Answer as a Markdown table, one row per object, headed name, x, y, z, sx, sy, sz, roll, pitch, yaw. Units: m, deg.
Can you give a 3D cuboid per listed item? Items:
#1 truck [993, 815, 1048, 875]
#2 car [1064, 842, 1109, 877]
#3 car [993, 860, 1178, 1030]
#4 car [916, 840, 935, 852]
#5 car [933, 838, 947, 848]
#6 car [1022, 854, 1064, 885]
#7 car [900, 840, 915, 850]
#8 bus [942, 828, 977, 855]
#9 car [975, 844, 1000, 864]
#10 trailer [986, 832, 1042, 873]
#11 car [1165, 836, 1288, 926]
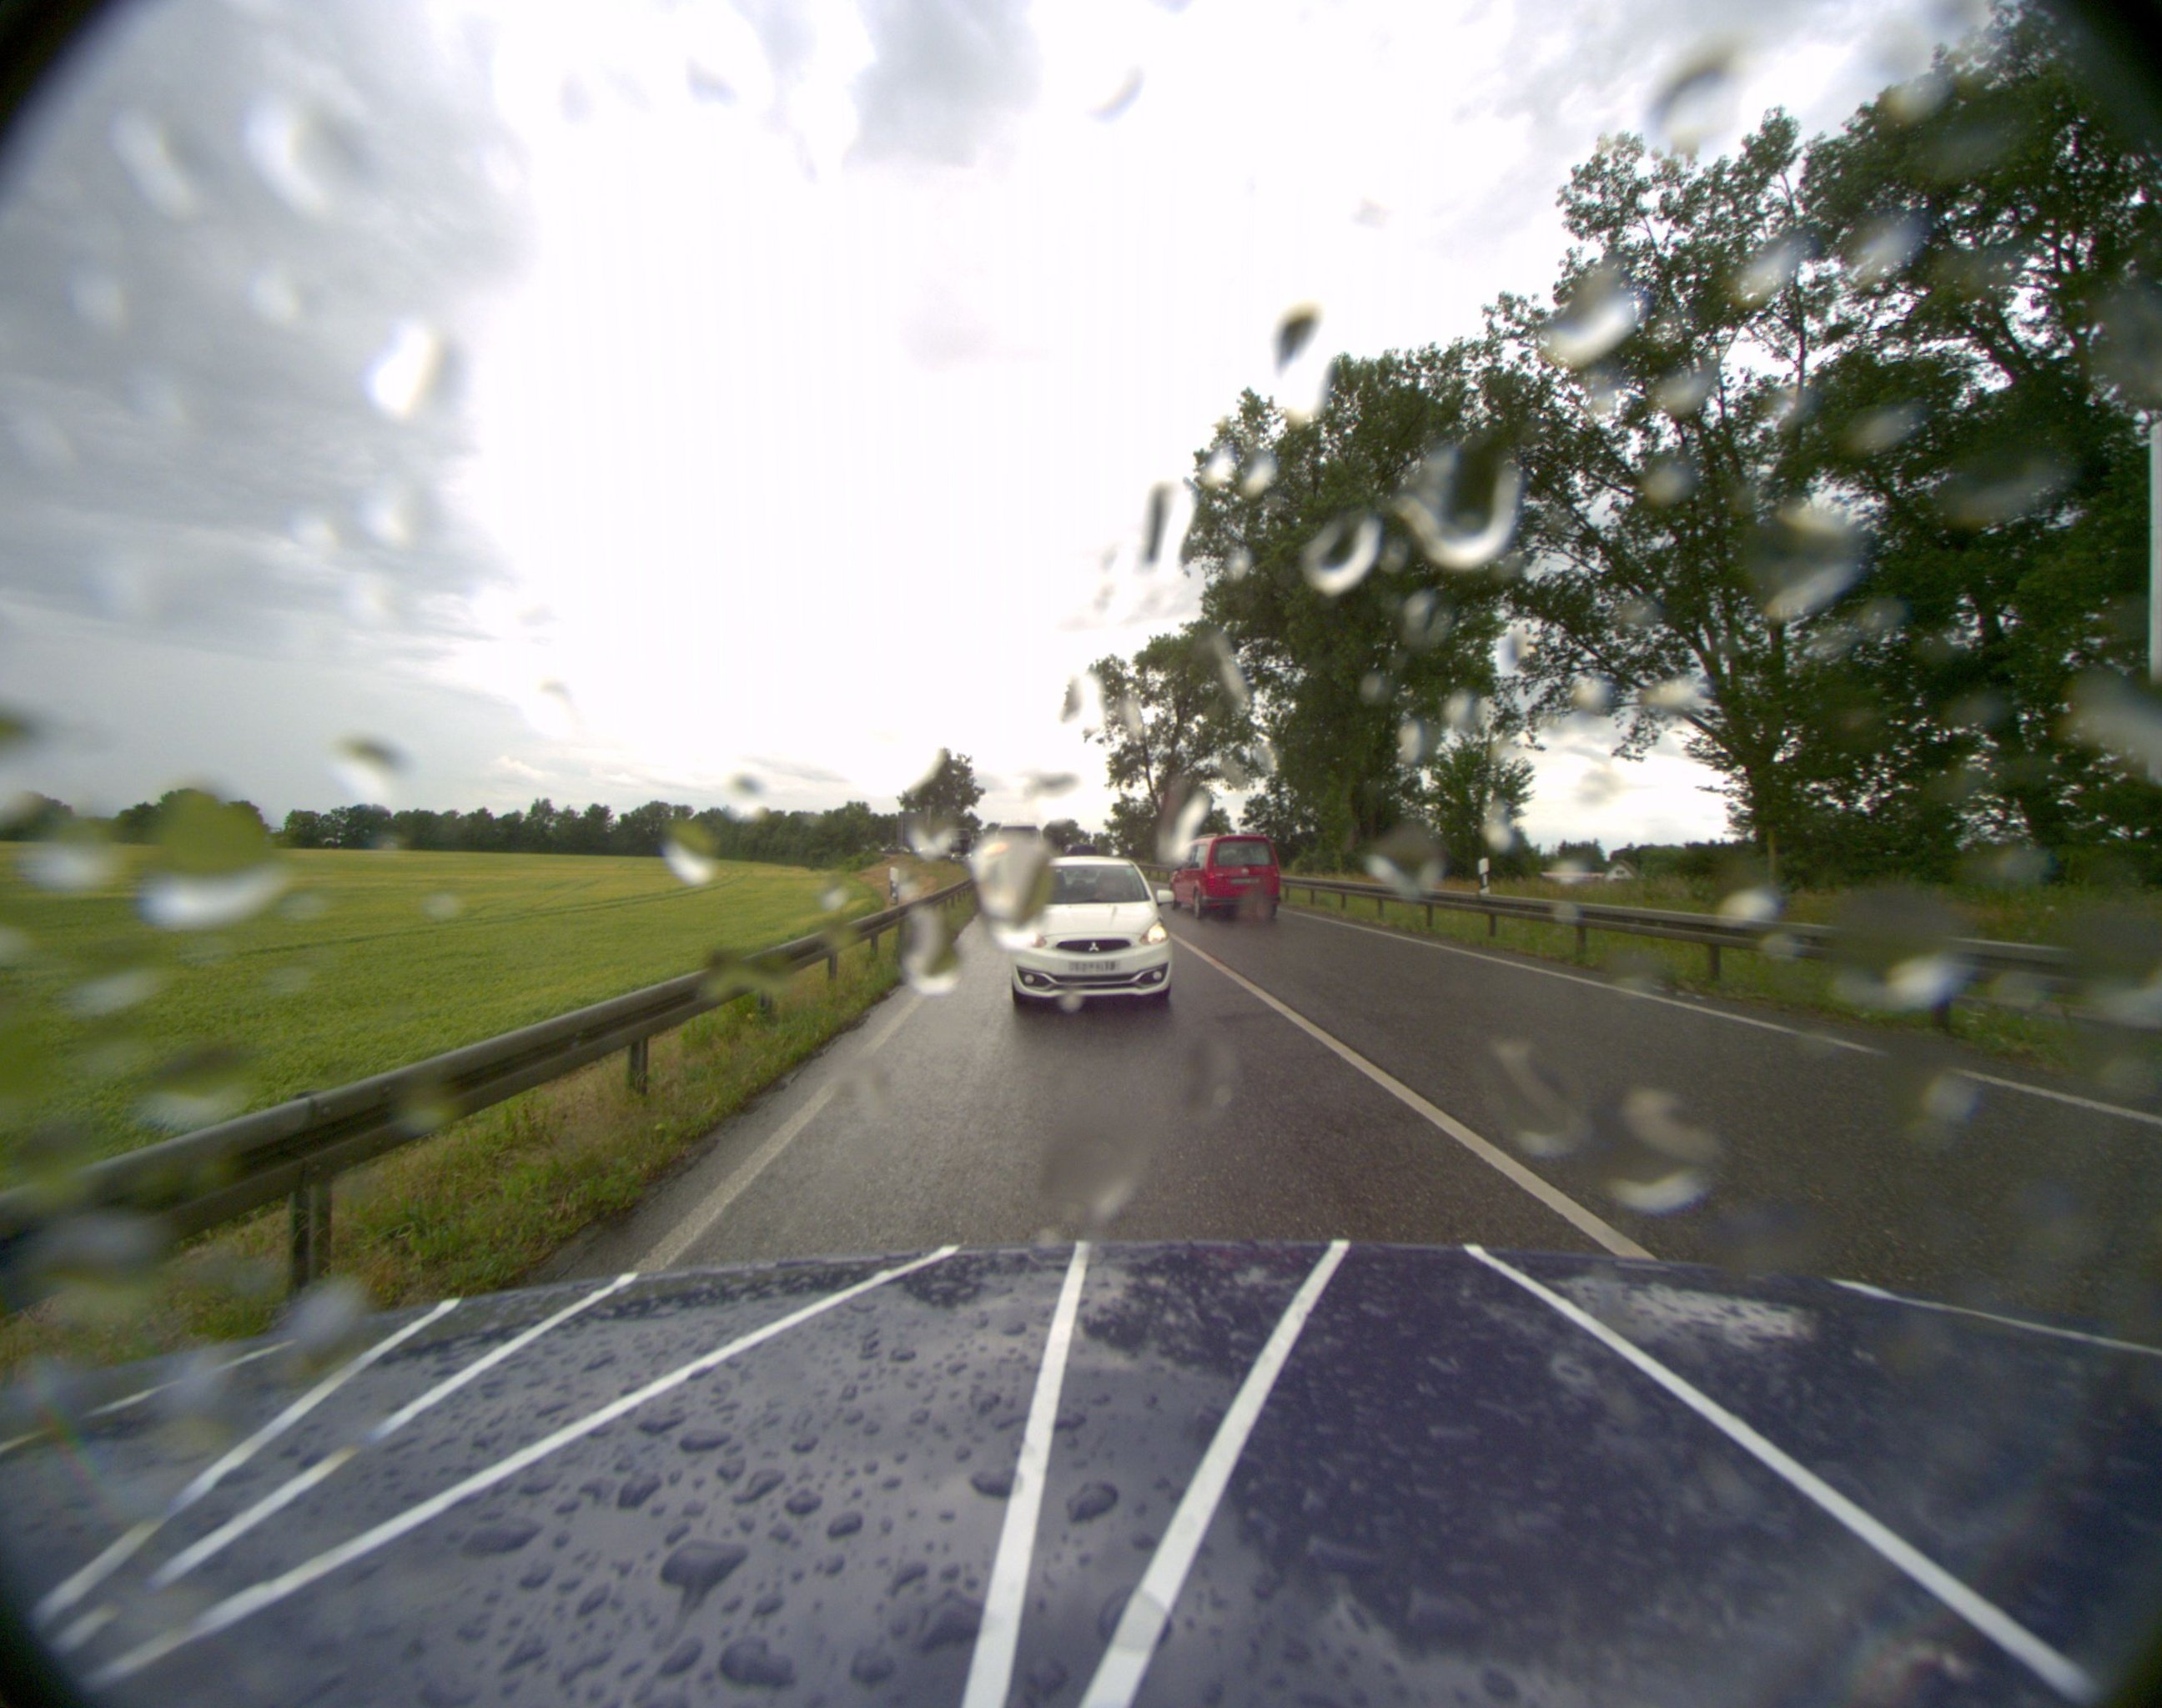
| name | x | y | z | sx | sy | sz | roll | pitch | yaw |
| --- | --- | --- | --- | --- | --- | --- | --- | --- | --- |
| truck | -4.047 | -0.574 | 49.828 | 2.986 | 3.589 | 6.074 | -2 | 1 | -10 |
| car | 0.263 | 0.290 | 47.416 | 1.969 | 2.002 | 4.856 | -2 | 1 | -9 |
| car | -0.031 | 0.849 | 8.988 | 1.653 | 1.461 | 4.029 | -2 | 0 | -2 |
| car | -27.749 | -1.378 | 135.547 | 2.002 | 2.002 | 5.324 | -2 | 1 | -25 |
| car | -22.568 | -1.737 | 121.530 | 1.816 | 1.569 | 3.994 | -2 | 1 | -17 |
| car | -2.034 | 0.750 | 39.403 | 1.782 | 1.380 | 4.325 | -2 | 1 | -8 |
| car | -35.641 | -1.893 | 155.686 | 2.002 | 2.002 | 4.223 | -2 | 1 | -26 |
| bus | -16.781 | -1.729 | 103.704 | 2.967 | 3.294 | 14.814 | -2 | 2 | -15 |
| car | -9.471 | -0.031 | 76.970 | 2.044 | 1.832 | 5.329 | -2 | 1 | -12 |
| trailer | -5.429 | -0.189 | 58.298 | 2.986 | 2.618 | 15.666 | -2 | 1 | -9 |
| car | 3.282 | 0.527 | 18.059 | 1.806 | 1.840 | 4.518 | -1 | 1 | -3 |
